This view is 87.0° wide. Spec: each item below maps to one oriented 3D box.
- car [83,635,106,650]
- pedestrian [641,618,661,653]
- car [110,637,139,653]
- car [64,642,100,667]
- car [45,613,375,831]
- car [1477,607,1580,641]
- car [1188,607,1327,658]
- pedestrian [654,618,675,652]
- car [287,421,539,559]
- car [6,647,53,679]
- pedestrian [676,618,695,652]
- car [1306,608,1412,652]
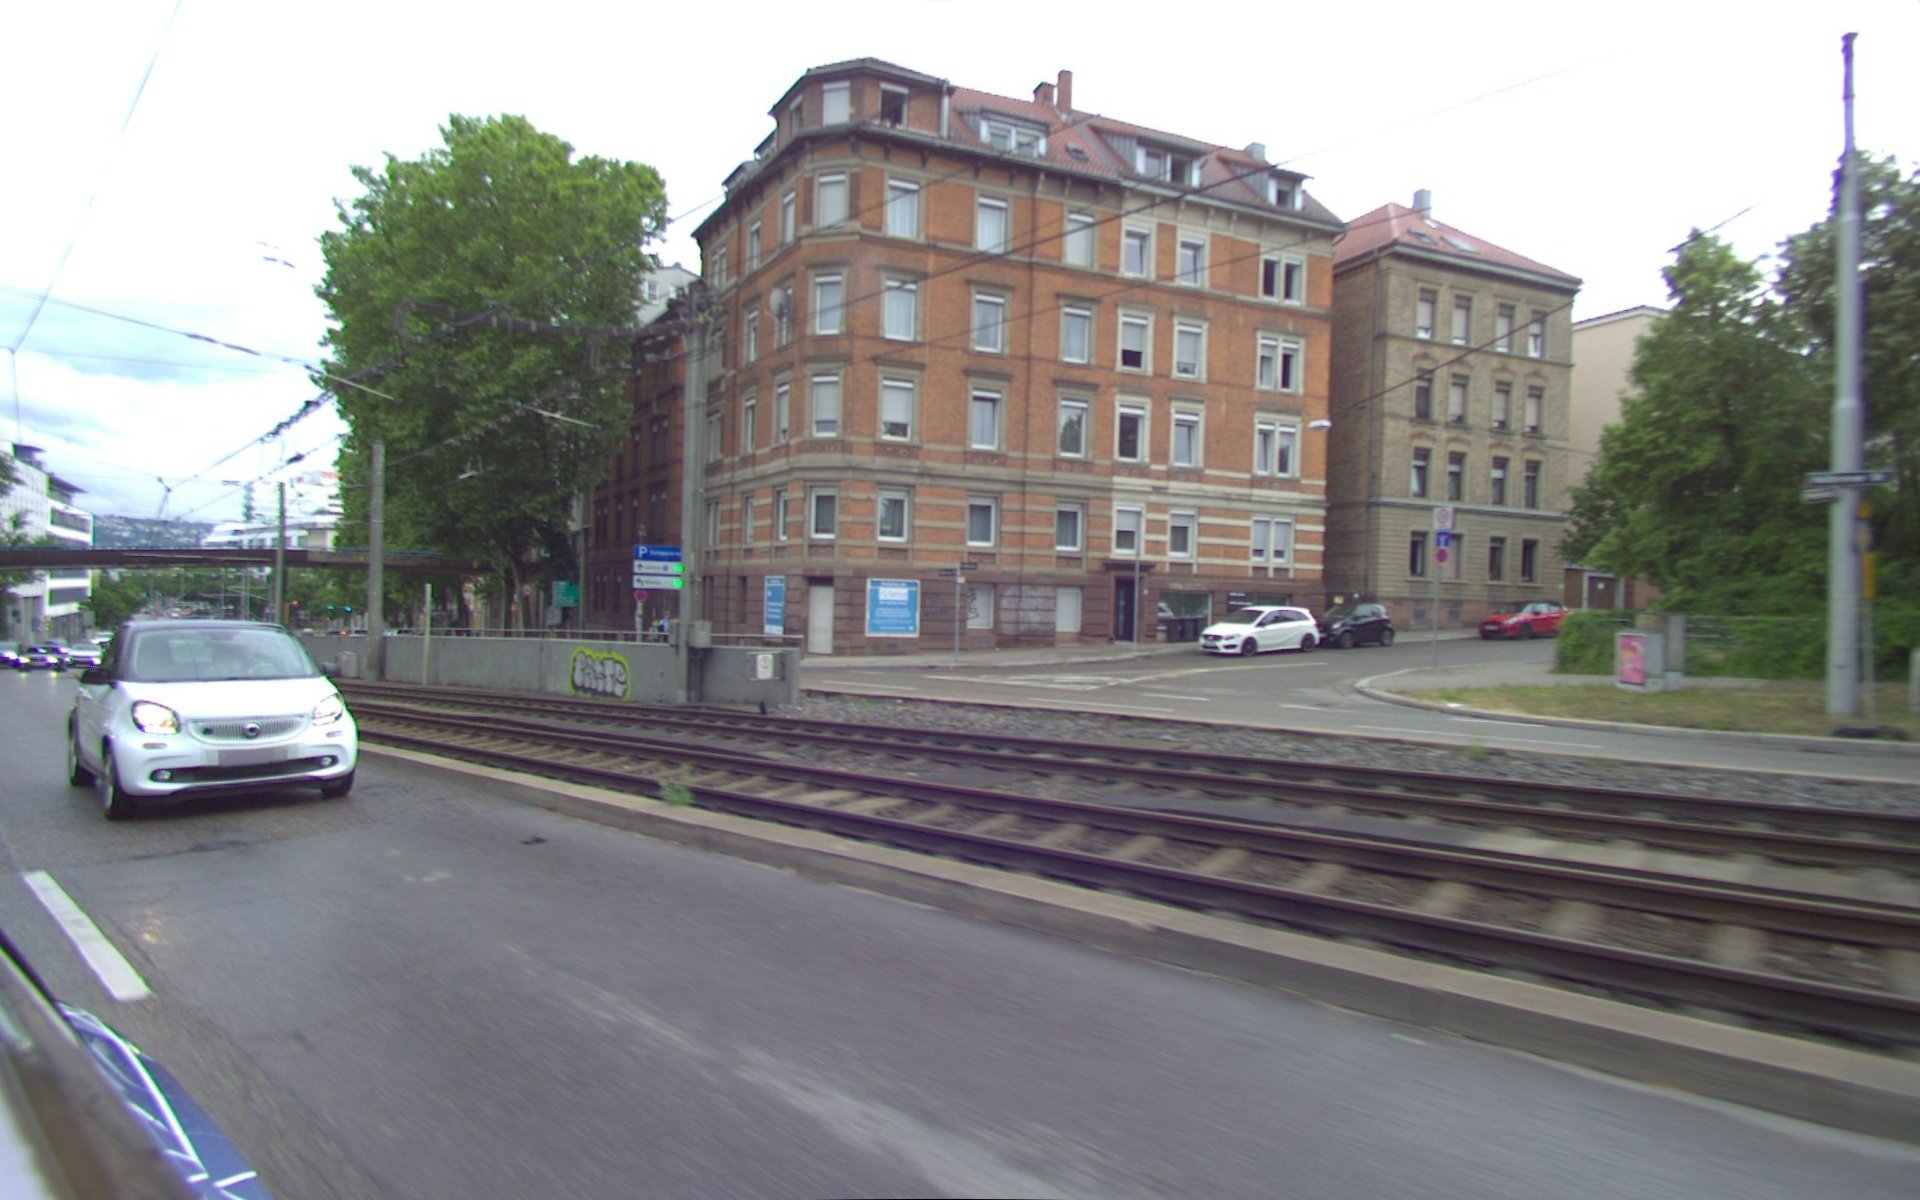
[{"bbox_3d":[-104.085,5.107,121.752,1.968,1.630,4.007,-1,0,-39],"label":"car"},{"bbox_3d":[-12.369,1.430,40.481,0.610,1.364,0.540,-1,0,-36],"label":"pedestrian"},{"bbox_3d":[-82.815,4.466,100.347,1.967,1.386,4.009,-1,0,-37],"label":"car"},{"bbox_3d":[-56.460,3.483,65.102,1.710,1.386,4.006,-1,0,-41],"label":"car"},{"bbox_3d":[-6.802,0.924,9.050,3.720,1.542,1.658,-2,-2,42],"label":"car"},{"bbox_3d":[21.828,0.902,38.850,3.614,1.214,1.734,0,-1,-27],"label":"car"},{"bbox_3d":[9.906,1.037,33.664,4.361,1.610,1.847,0,-1,-27],"label":"car"},{"bbox_3d":[-12.042,1.425,41.269,0.538,1.364,0.612,-1,0,41],"label":"pedestrian"},{"bbox_3d":[-9.712,-1.839,17.969,3.978,2.029,1.983,-1,0,26],"label":"car"},{"bbox_3d":[-47.560,3.193,51.769,1.616,1.386,3.580,-1,0,-41],"label":"car"},{"bbox_3d":[-11.222,1.414,41.319,0.610,1.364,0.540,-1,0,-34],"label":"pedestrian"},{"bbox_3d":[14.047,1.030,35.654,3.328,1.477,1.662,0,-1,-27],"label":"car"}]
